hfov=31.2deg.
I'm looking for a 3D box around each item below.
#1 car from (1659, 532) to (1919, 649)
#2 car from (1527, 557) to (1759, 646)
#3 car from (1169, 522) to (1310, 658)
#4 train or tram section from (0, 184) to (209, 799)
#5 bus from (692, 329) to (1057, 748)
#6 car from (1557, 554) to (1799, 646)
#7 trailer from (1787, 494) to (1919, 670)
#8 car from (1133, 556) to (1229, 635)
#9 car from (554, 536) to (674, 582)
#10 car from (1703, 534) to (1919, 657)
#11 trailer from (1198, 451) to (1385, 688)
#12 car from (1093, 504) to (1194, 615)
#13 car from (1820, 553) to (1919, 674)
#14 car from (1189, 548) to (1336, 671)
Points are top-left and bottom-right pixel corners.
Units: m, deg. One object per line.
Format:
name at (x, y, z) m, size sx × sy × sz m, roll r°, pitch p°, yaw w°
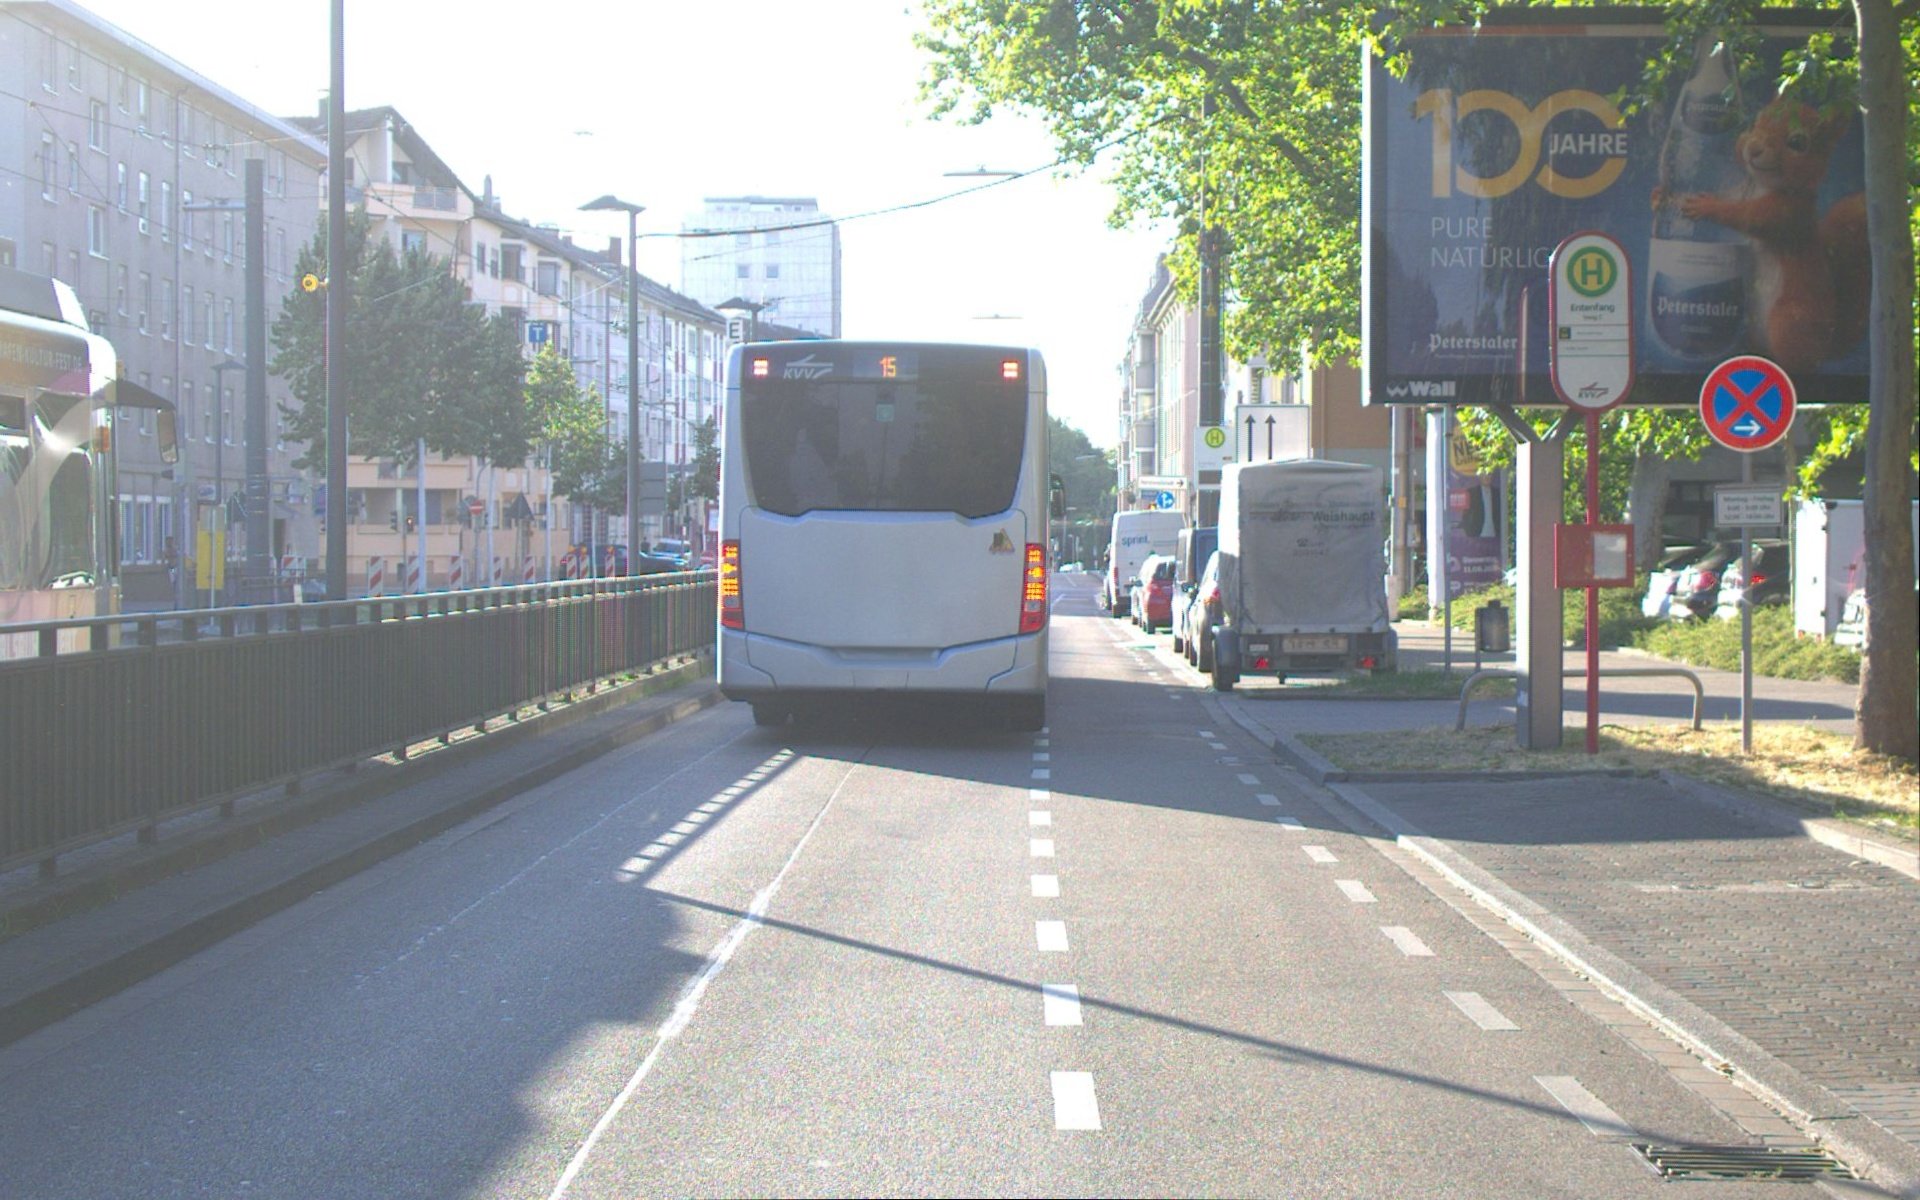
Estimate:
car at (12.112, -0.142, 49.080) m, size 3.920 × 1.632 × 1.706 m, roll 0°, pitch 0°, yaw 1°
car at (12.449, 0.021, 62.809) m, size 3.920 × 1.583 × 1.706 m, roll 0°, pitch 1°, yaw 1°
car at (4.184, -0.168, 52.013) m, size 1.847 × 1.950 × 4.543 m, roll 0°, pitch 1°, yaw 1°
train or tram section at (-6.830, -0.589, 17.901) m, size 2.640 × 3.507 × 13.334 m, roll 0°, pitch 1°, yaw 1°
bus at (-0.501, -0.559, 31.081) m, size 2.733 × 3.128 × 10.703 m, roll 0°, pitch 1°, yaw 2°
car at (12.602, -0.011, 60.464) m, size 3.920 × 1.583 × 1.706 m, roll 0°, pitch 1°, yaw 1°
trailer at (11.710, -0.219, 41.446) m, size 3.064 × 2.062 × 1.878 m, roll 0°, pitch 1°, yaw 3°
car at (4.349, -0.114, 68.010) m, size 1.671 × 1.458 × 3.933 m, roll -2°, pitch 1°, yaw 1°
car at (-12.427, -1.470, 123.586) m, size 4.135 × 1.612 × 2.000 m, roll 0°, pitch 1°, yaw -1°
car at (12.237, -0.072, 46.714) m, size 3.920 × 1.631 × 1.706 m, roll 0°, pitch 0°, yaw 1°
trailer at (3.696, -0.353, 38.820) m, size 1.832 × 2.549 × 3.318 m, roll -1°, pitch 1°, yaw 1°
car at (4.437, -0.980, 84.028) m, size 2.282 × 2.618 × 5.309 m, roll 0°, pitch 1°, yaw 1°
car at (11.856, 0.129, 38.757) m, size 3.920 × 1.331 × 1.706 m, roll 0°, pitch 1°, yaw 2°
car at (4.006, 0.102, 46.026) m, size 1.701 × 1.583 × 3.827 m, roll 0°, pitch 1°, yaw 1°
